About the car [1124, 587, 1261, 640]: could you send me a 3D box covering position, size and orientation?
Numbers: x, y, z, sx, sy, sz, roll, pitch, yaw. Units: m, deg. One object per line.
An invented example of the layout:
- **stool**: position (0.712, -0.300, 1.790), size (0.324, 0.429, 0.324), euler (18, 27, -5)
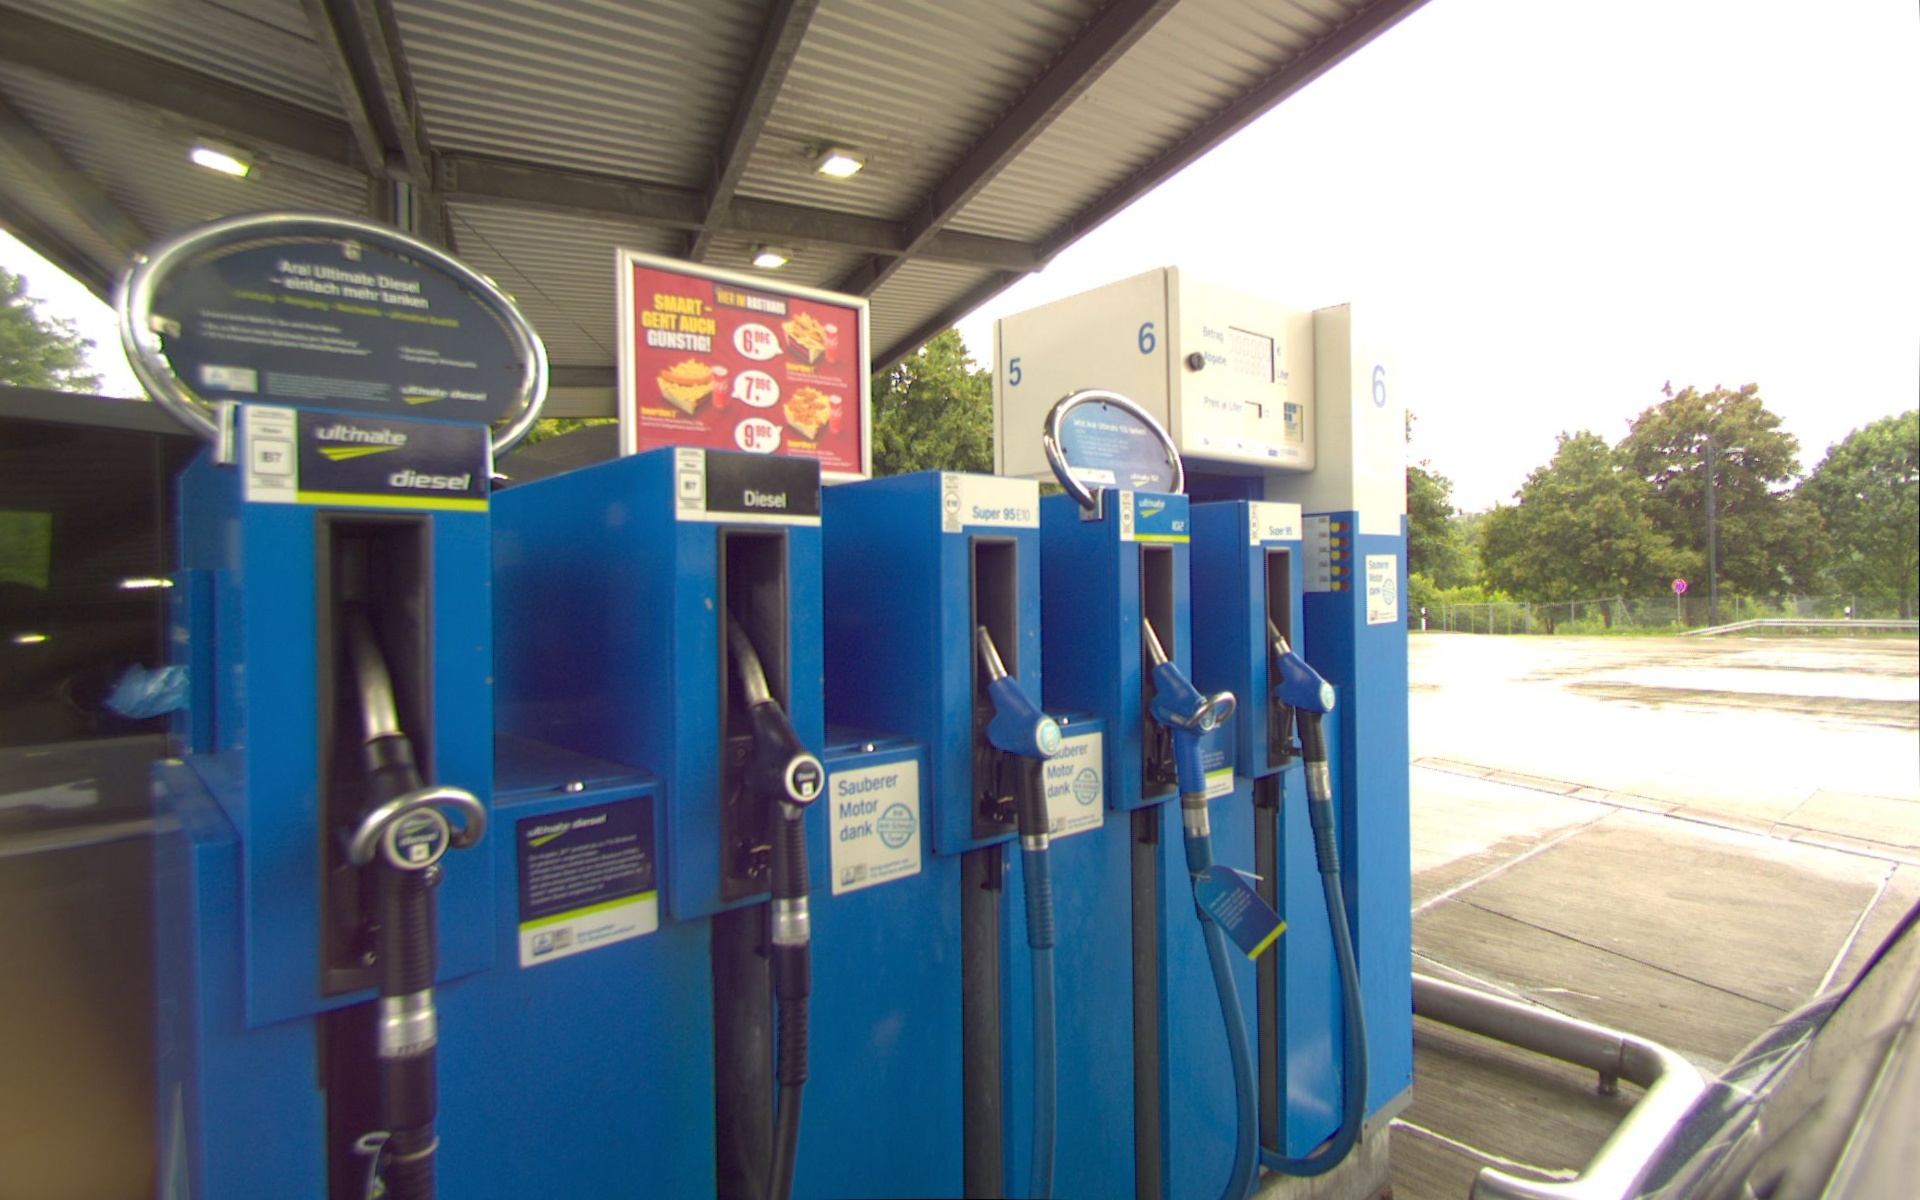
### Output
- **car**: position (7.389, 0.406, 32.139), size (4.123, 1.576, 1.990), euler (1, 0, 17)

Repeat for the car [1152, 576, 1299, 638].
- **car**: position (8.925, 0.209, 34.324), size (4.700, 2.011, 2.007), euler (0, 0, 14)

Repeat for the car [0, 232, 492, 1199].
- **car**: position (-3.032, 0.398, 1.471), size (3.930, 1.973, 1.819), euler (0, 0, -41)

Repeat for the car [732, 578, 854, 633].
- **car**: position (-5.562, 0.151, 33.458), size (1.967, 1.683, 4.170), euler (0, 0, -44)

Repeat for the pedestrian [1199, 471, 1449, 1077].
- **pedestrian**: position (1.228, 0.515, 3.426), size (0.621, 1.832, 0.495), euler (-2, 1, -31)

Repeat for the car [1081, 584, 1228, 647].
- **car**: position (5.800, 0.421, 30.005), size (4.123, 1.752, 1.990), euler (0, 0, 17)
